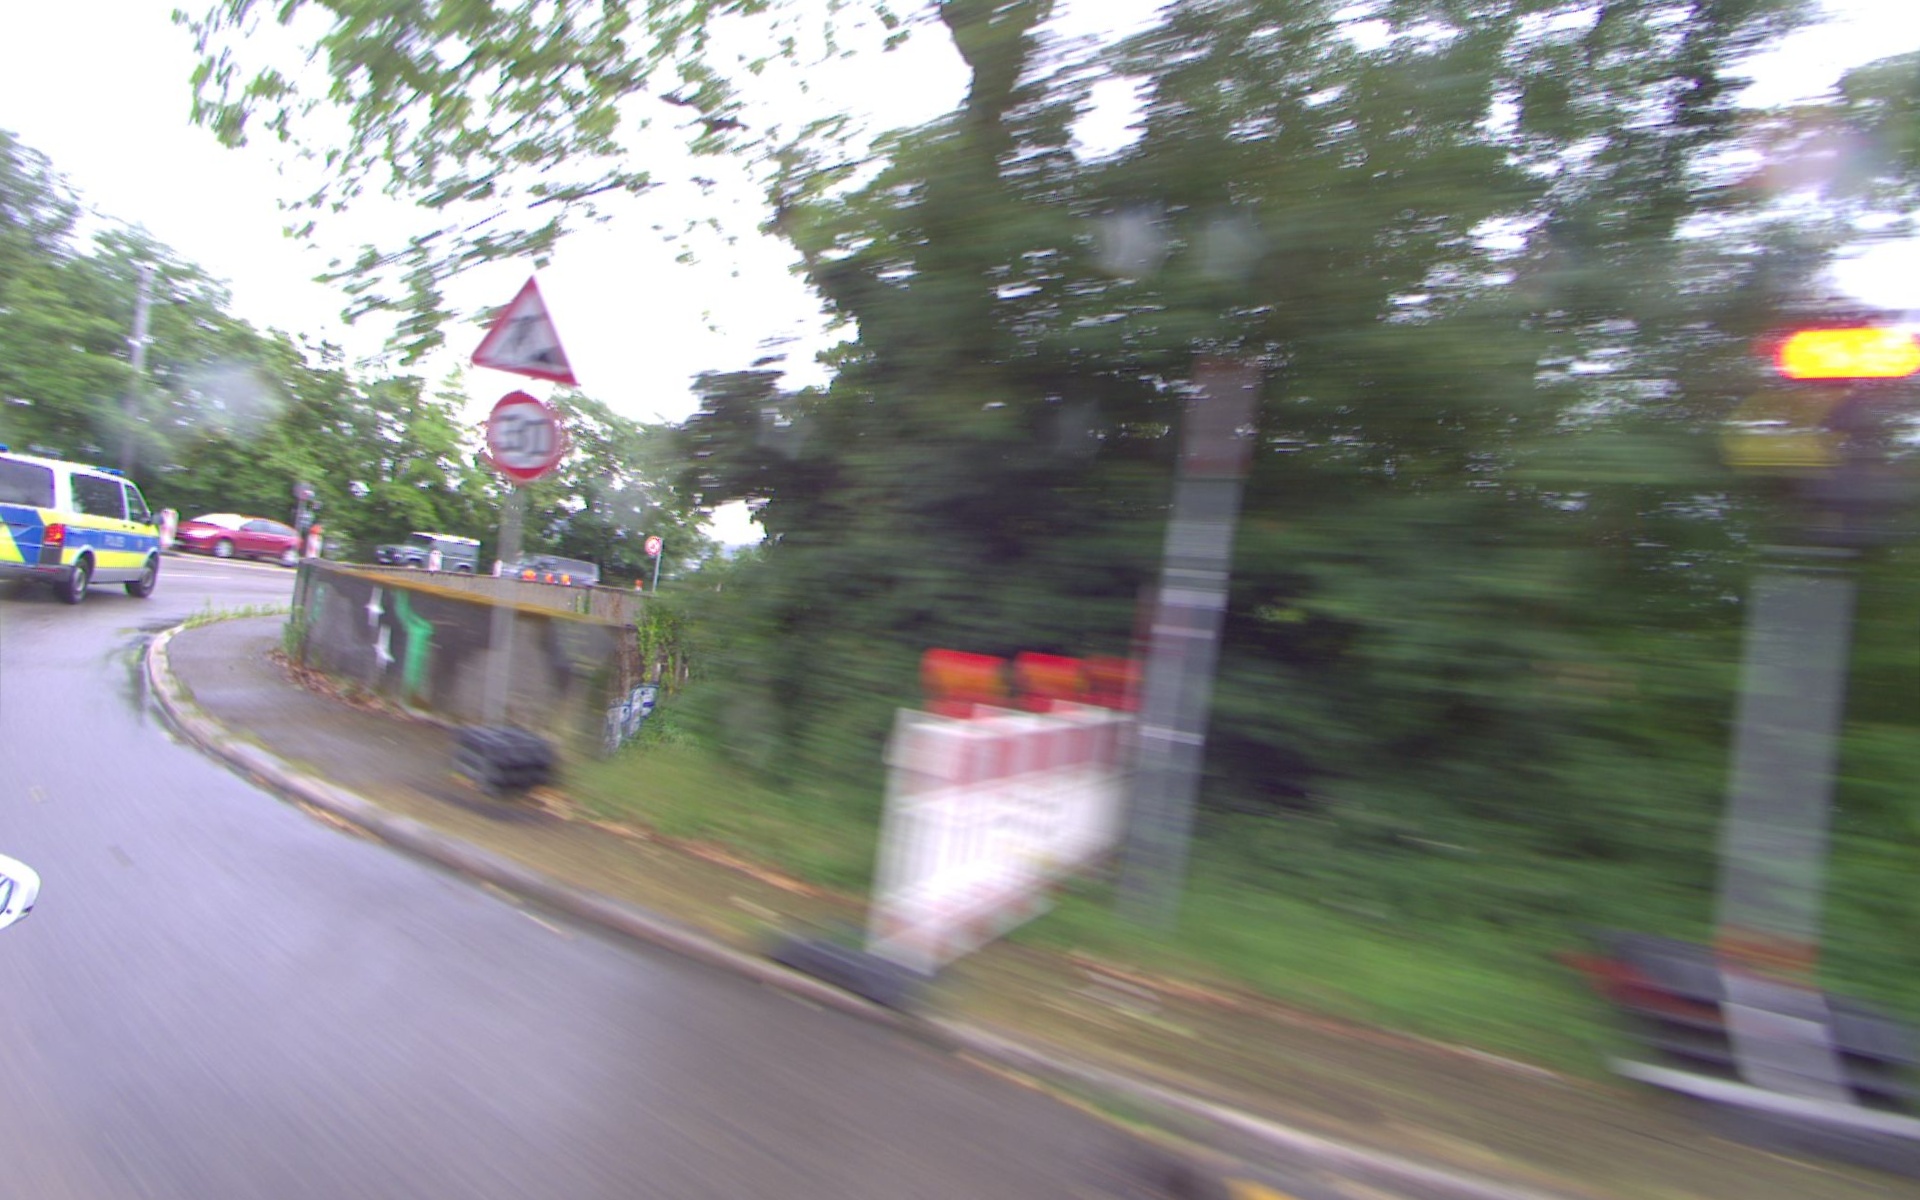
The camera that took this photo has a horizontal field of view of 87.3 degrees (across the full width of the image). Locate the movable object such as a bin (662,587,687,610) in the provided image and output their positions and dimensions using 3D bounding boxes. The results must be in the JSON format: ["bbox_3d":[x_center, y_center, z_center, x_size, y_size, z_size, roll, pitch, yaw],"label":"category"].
[{"bbox_3d":[-16.486,-0.084,58.115,1.019,1.119,0.980,9,-1,-35],"label":"movable object such as a bin"}]

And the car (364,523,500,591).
[{"bbox_3d":[-22.171,-1.750,42.477,1.837,2.036,4.816,10,-1,21],"label":"car"}]

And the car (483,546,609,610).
[{"bbox_3d":[-19.307,-0.990,47.103,1.969,2.036,4.938,11,-1,38],"label":"car"}]

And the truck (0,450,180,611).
[{"bbox_3d":[-13.926,-1.061,15.299,1.975,2.037,4.708,9,-2,-24],"label":"truck"}]

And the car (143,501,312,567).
[{"bbox_3d":[-24.675,-2.169,34.108,1.929,1.456,4.327,9,-1,11],"label":"car"}]
